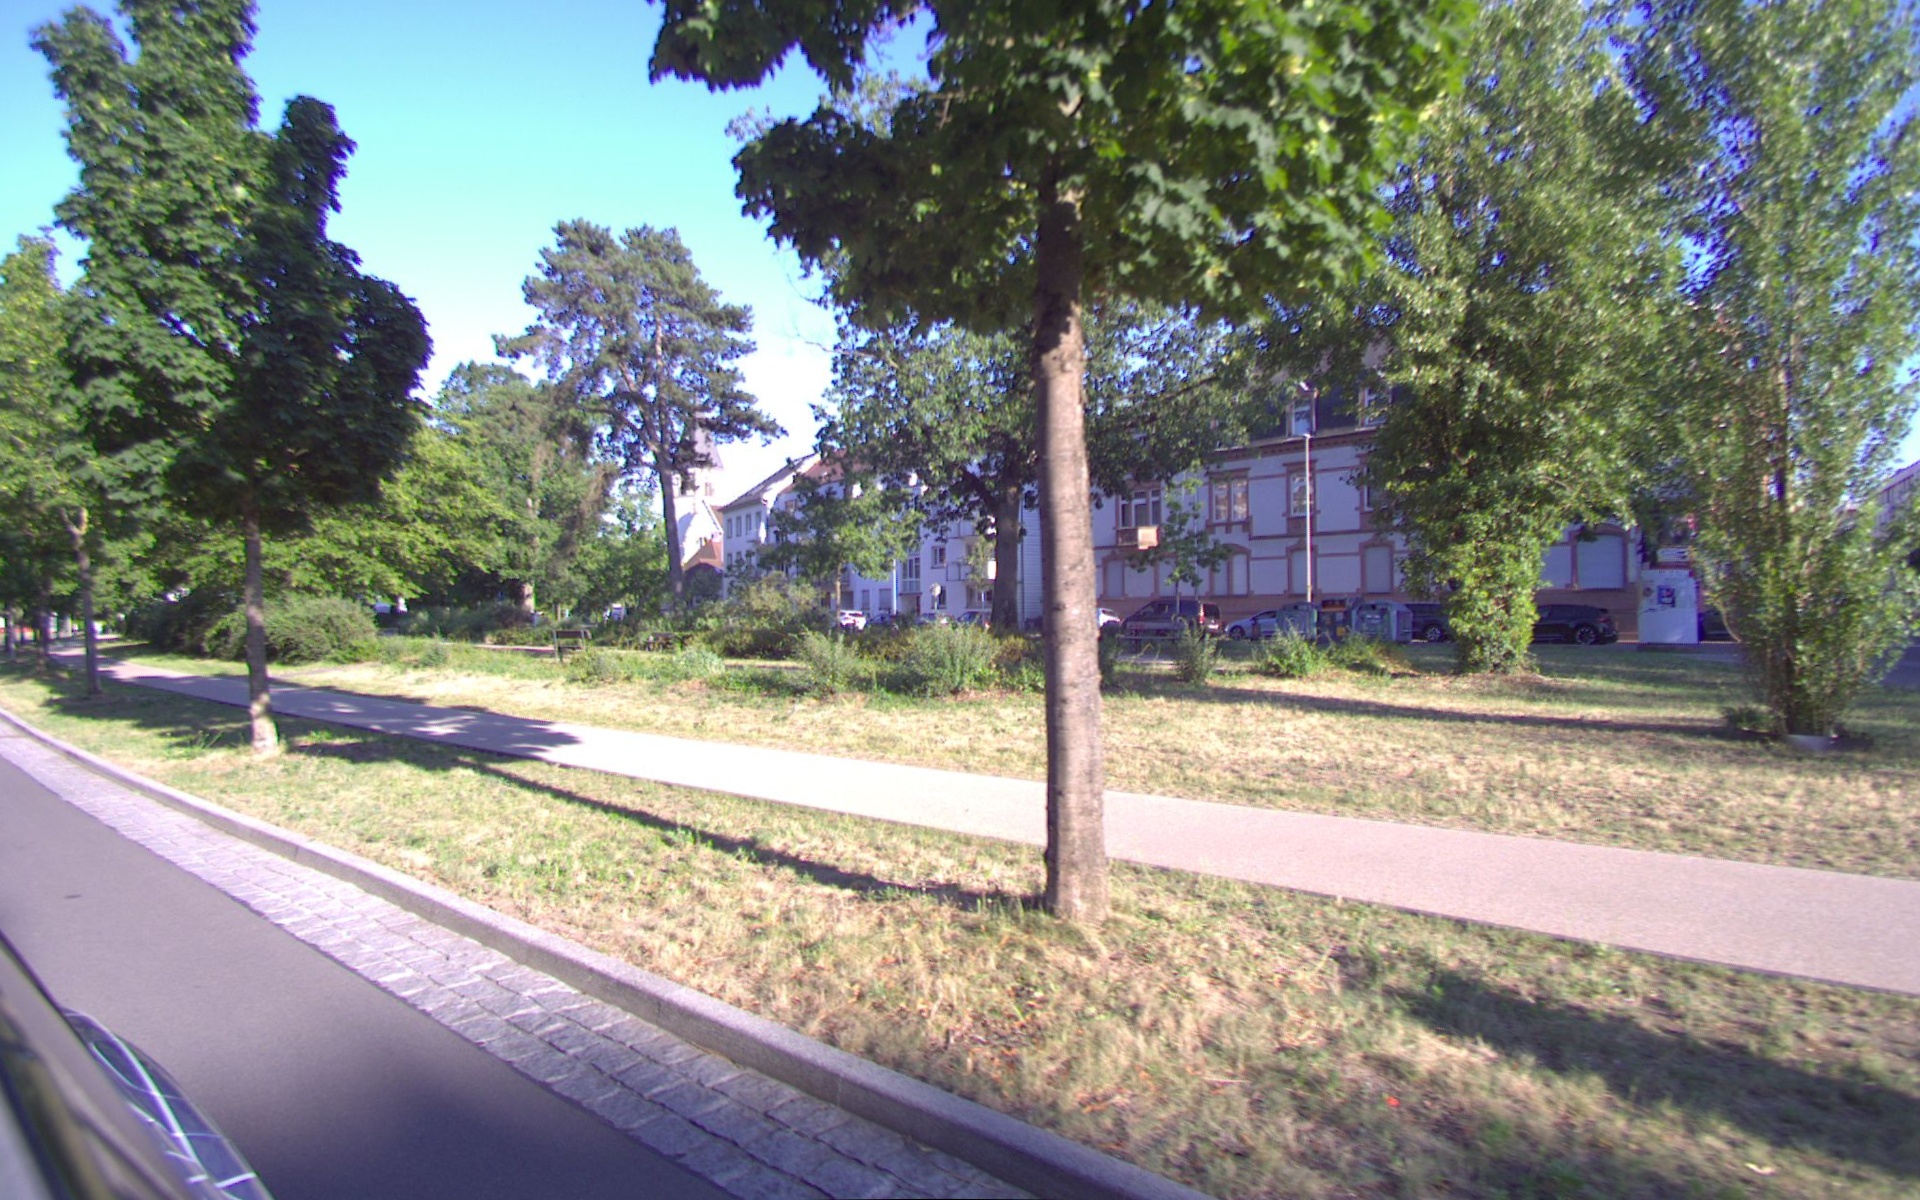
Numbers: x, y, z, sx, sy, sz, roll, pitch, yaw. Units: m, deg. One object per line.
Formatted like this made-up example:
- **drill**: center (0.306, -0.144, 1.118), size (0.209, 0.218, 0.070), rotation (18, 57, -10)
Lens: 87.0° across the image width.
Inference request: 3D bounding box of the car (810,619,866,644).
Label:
- **car**: center (-8.606, 2.181, 71.136), size (1.860, 1.586, 4.610), rotation (1, 0, -36)

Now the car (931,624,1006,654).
- **car**: center (0.462, 2.275, 59.693), size (1.861, 1.586, 4.606), rotation (1, 0, -41)

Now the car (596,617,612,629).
- **car**: center (-51.124, 3.298, 145.273), size (1.858, 1.586, 4.614), rotation (1, 0, -22)

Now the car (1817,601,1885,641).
- **car**: center (37.803, 0.872, 43.012), size (1.888, 1.586, 3.949), rotation (1, 0, 38)

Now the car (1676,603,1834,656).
- **car**: center (26.091, 0.918, 33.333), size (3.996, 1.586, 1.866), rotation (1, 0, 40)

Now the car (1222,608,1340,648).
- **car**: center (14.077, 1.185, 44.548), size (1.863, 1.586, 4.602), rotation (1, 0, -44)

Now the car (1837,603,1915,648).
- **car**: center (34.560, 0.921, 38.281), size (1.888, 1.586, 3.949), rotation (1, 0, 38)

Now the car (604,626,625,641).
- **car**: center (-40.527, 3.925, 118.714), size (1.858, 1.586, 4.614), rotation (1, 0, -24)

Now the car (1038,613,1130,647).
- **car**: center (6.413, 1.532, 52.737), size (1.862, 1.586, 4.604), rotation (1, 0, -43)

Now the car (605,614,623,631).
- **car**: center (-45.759, 2.982, 133.823), size (1.858, 2.142, 4.614), rotation (1, 0, -24)

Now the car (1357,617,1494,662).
- **car**: center (18.374, 1.527, 40.102), size (4.598, 1.586, 1.864), rotation (1, 0, 42)

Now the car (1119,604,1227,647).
- **car**: center (10.160, 1.186, 48.601), size (1.861, 1.908, 4.984), rotation (1, 0, -41)

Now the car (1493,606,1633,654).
- **car**: center (21.751, 1.052, 36.608), size (1.863, 1.586, 4.003), rotation (1, 0, -44)
